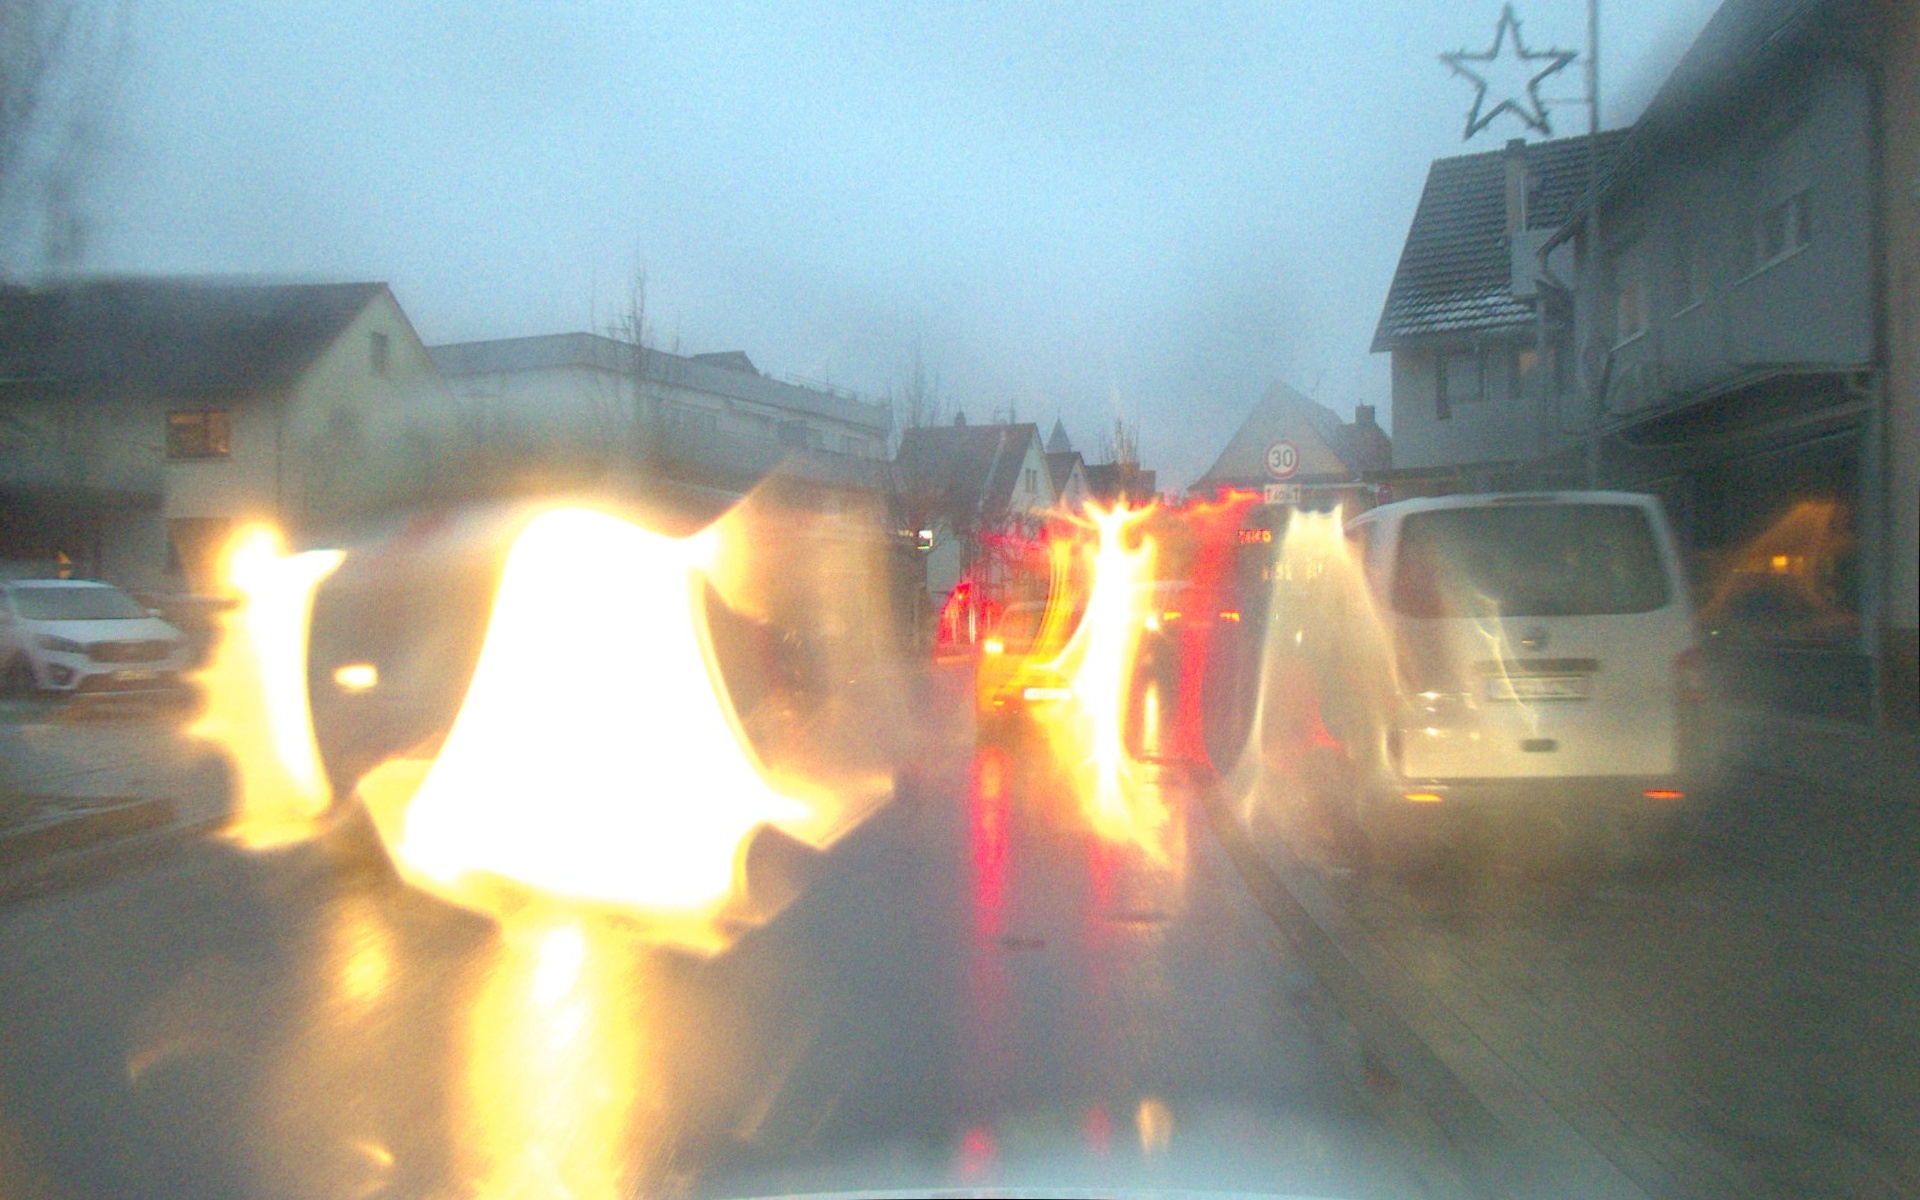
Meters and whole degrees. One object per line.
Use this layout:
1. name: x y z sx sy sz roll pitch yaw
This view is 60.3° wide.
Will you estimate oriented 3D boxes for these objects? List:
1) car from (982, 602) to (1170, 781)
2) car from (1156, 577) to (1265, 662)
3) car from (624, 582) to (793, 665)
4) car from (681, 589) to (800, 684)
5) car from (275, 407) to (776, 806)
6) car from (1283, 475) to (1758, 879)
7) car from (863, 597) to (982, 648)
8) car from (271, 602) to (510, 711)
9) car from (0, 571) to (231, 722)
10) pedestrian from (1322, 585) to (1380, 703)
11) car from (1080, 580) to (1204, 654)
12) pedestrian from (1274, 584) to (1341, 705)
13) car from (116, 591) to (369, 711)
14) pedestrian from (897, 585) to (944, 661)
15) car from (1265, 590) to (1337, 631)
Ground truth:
1. car: 1.282 0.976 19.823 1.952 1.827 4.649 -1 0 1
2. car: 5.377 0.384 35.172 1.760 1.691 4.002 0 0 16
3. car: -6.067 0.572 39.962 3.636 1.937 1.759 -1 0 23
4. car: -3.770 0.598 28.930 1.797 1.562 3.673 0 0 -3
5. car: -3.136 0.035 13.681 2.148 2.534 6.146 -1 0 4
6. car: 3.259 0.376 10.685 1.931 1.994 4.855 -1 0 7
7. car: -1.213 0.727 52.124 1.721 1.503 4.035 -1 -1 -36
8. car: -8.996 0.819 25.999 3.931 1.557 1.987 0 0 43
9. car: -11.209 0.558 20.688 4.567 1.683 1.978 -1 -1 39
10. pedestrian: 5.754 0.637 24.376 0.568 1.698 0.790 -1 0 -6
11. car: 4.864 0.417 43.587 1.906 1.781 4.850 -3 -1 23
12. pedestrian: 5.097 0.636 24.288 0.699 1.729 0.803 -1 0 -8
13. car: -10.506 0.739 24.107 4.035 1.610 1.712 -2 -1 39
14. pedestrian: -1.012 0.572 42.076 0.740 1.899 1.058 -1 0 30
15. car: 13.592 0.416 65.771 1.639 1.542 3.992 1 1 30
